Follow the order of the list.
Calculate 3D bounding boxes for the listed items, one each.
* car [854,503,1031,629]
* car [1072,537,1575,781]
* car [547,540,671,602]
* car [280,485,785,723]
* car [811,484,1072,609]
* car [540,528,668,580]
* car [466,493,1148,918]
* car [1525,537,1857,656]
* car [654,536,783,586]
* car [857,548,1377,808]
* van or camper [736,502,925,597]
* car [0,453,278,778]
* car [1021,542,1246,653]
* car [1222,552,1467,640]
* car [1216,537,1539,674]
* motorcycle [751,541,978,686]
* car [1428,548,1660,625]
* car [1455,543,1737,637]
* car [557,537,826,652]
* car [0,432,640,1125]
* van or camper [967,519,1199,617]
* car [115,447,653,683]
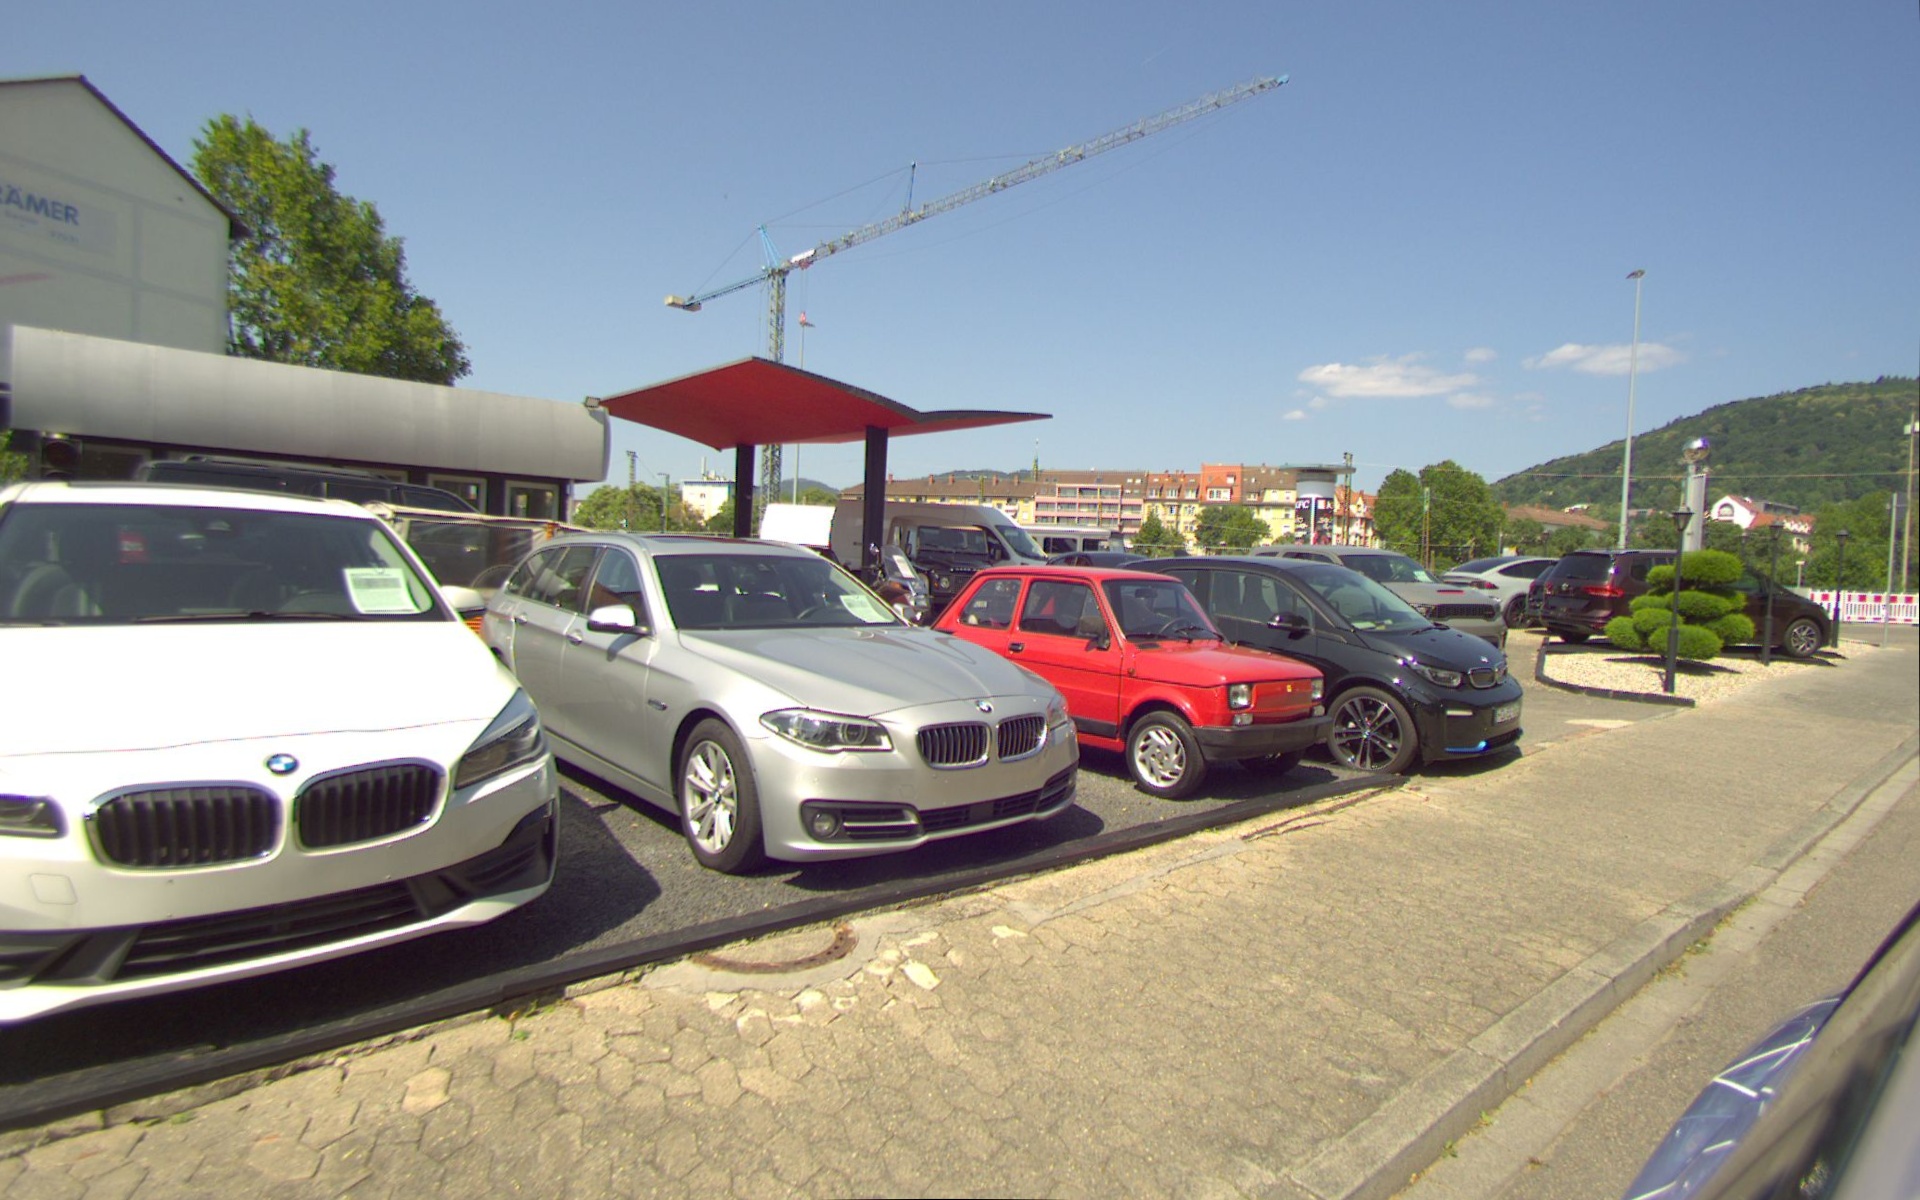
[{"bbox_3d":[-0.508,-0.732,20.085,1.885,2.176,4.589,2,3,-23],"label":"car"},{"bbox_3d":[3.008,0.310,8.987,1.729,1.643,3.810,-1,4,-41],"label":"car"},{"bbox_3d":[-9.354,-0.810,26.738,1.889,1.460,4.333,0,3,-36],"label":"car"},{"bbox_3d":[-3.874,-0.037,9.479,3.931,1.749,1.997,-1,3,-42],"label":"car"},{"bbox_3d":[-0.504,-1.292,24.390,5.962,2.711,2.238,2,2,28],"label":"car"},{"bbox_3d":[-12.286,-1.585,35.126,3.969,1.660,1.728,1,2,-11],"label":"car"},{"bbox_3d":[-1.254,0.262,5.892,1.864,1.515,4.412,0,3,-41],"label":"car"},{"bbox_3d":[12.086,-0.095,16.918,4.205,1.803,1.856,1,3,-4],"label":"car"},{"bbox_3d":[-7.870,-1.267,33.206,3.969,1.497,1.728,1,2,-11],"label":"car"},{"bbox_3d":[0.920,0.353,7.349,1.532,1.351,3.556,-1,4,-41],"label":"car"},{"bbox_3d":[-3.629,-1.449,28.398,4.874,2.466,1.988,3,2,20],"label":"van or camper"},{"bbox_3d":[-6.600,0.075,6.273,3.723,1.882,1.997,-1,2,-41],"label":"car"},{"bbox_3d":[2.839,-0.142,17.807,1.884,1.655,4.589,1,3,-19],"label":"car"},{"bbox_3d":[7.434,-0.132,19.969,4.138,1.553,1.921,2,3,9],"label":"car"},{"bbox_3d":[6.203,-0.038,15.869,1.884,1.784,5.010,1,3,-17],"label":"car"},{"bbox_3d":[-1.160,0.083,11.688,2.679,1.450,0.996,4,3,40],"label":"motorcycle"},{"bbox_3d":[14.103,-0.338,24.515,4.716,1.713,2.022,1,2,-14],"label":"car"},{"bbox_3d":[13.372,-0.239,21.452,4.721,1.801,2.020,1,2,-5],"label":"car"},{"bbox_3d":[-4.047,-0.162,14.878,4.118,1.334,1.919,6,4,43],"label":"car"},{"bbox_3d":[-3.198,0.211,4.230,1.865,1.545,4.411,-1,6,-42],"label":"car"},{"bbox_3d":[3.079,-0.853,25.673,5.454,2.289,2.092,2,2,28],"label":"van or camper"},{"bbox_3d":[-6.102,-0.396,11.177,1.995,2.038,4.828,5,4,45],"label":"car"}]
